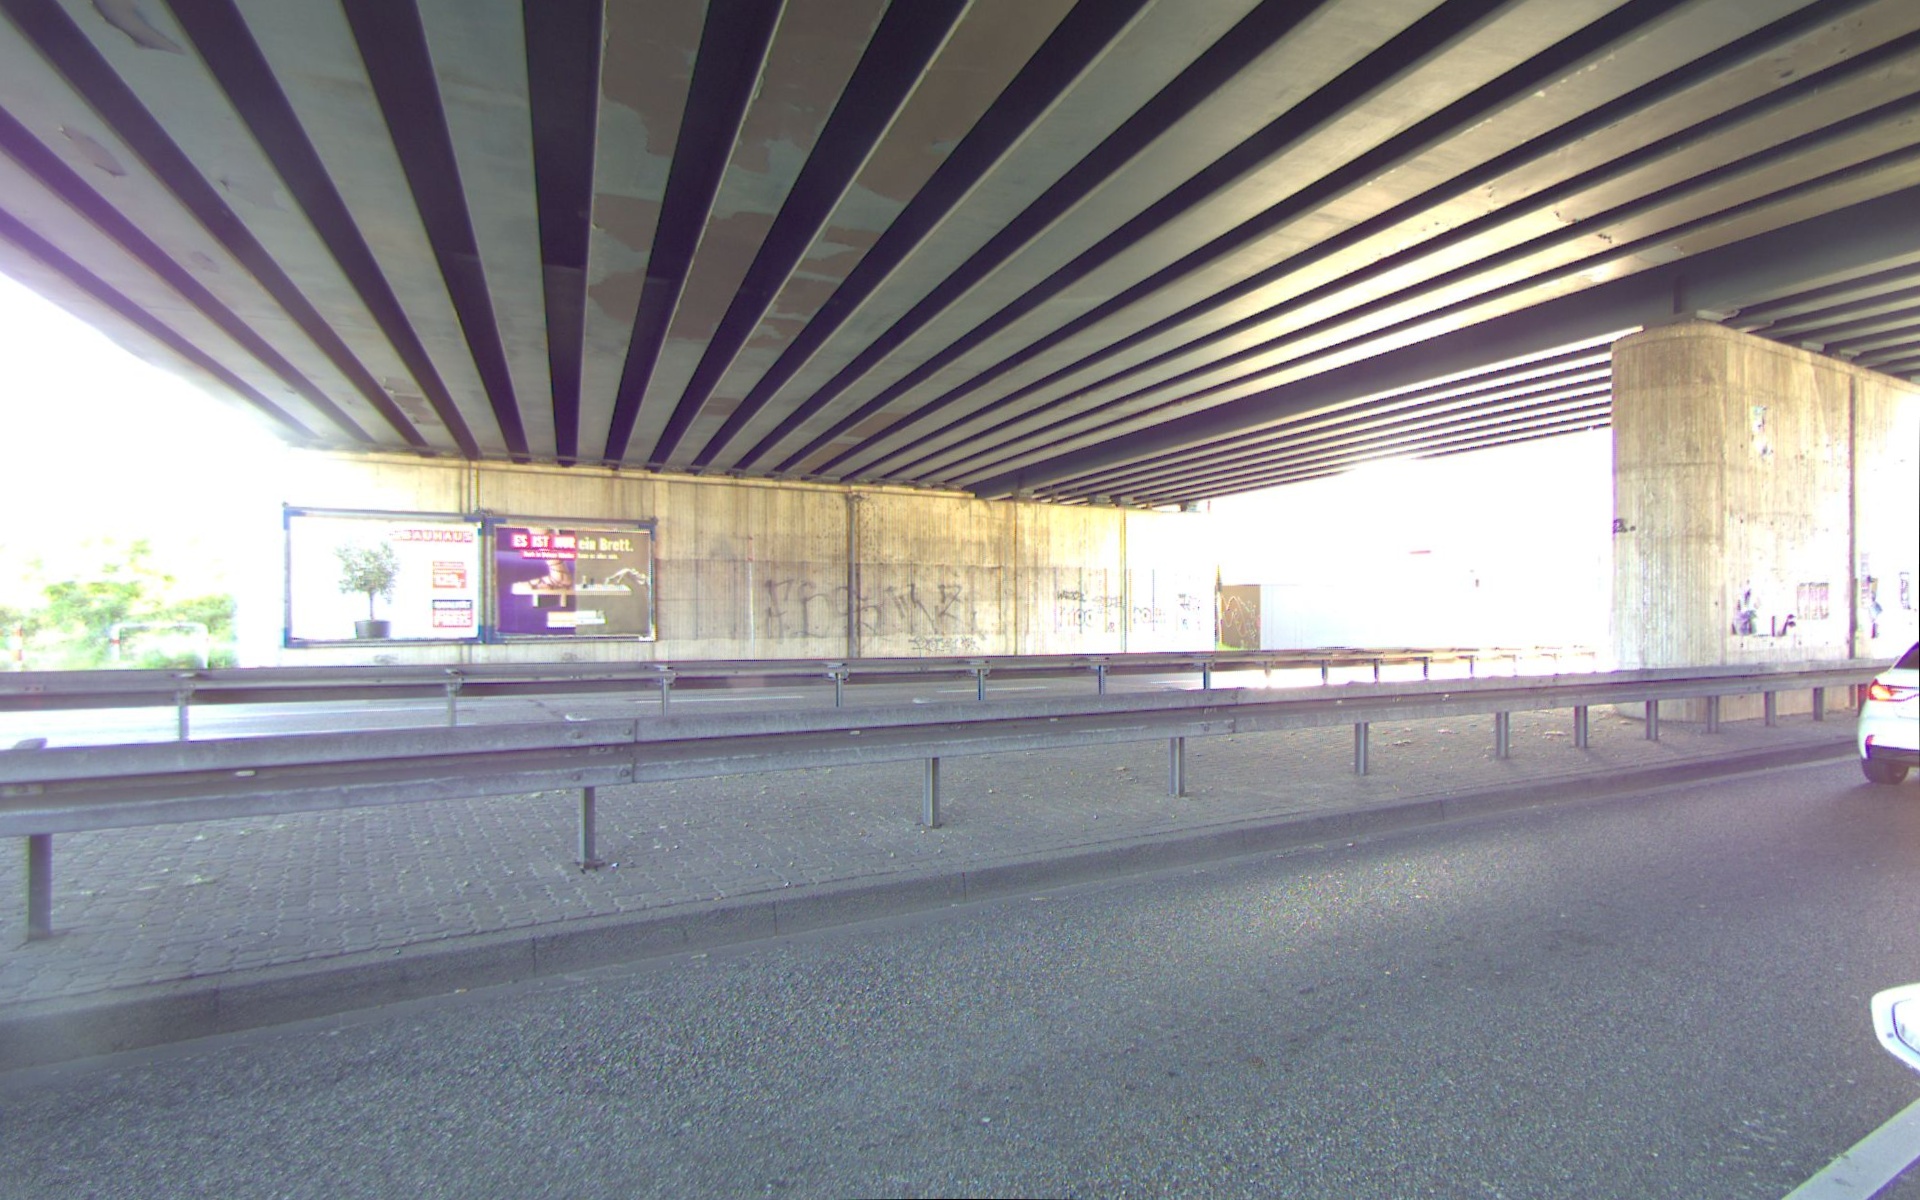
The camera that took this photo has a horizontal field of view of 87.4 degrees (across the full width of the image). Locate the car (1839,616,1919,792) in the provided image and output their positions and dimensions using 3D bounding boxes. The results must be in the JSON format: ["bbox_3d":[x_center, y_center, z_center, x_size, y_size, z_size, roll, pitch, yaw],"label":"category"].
[{"bbox_3d":[9.639,0.892,8.893,3.768,1.429,1.684,1,0,-30],"label":"car"}]
